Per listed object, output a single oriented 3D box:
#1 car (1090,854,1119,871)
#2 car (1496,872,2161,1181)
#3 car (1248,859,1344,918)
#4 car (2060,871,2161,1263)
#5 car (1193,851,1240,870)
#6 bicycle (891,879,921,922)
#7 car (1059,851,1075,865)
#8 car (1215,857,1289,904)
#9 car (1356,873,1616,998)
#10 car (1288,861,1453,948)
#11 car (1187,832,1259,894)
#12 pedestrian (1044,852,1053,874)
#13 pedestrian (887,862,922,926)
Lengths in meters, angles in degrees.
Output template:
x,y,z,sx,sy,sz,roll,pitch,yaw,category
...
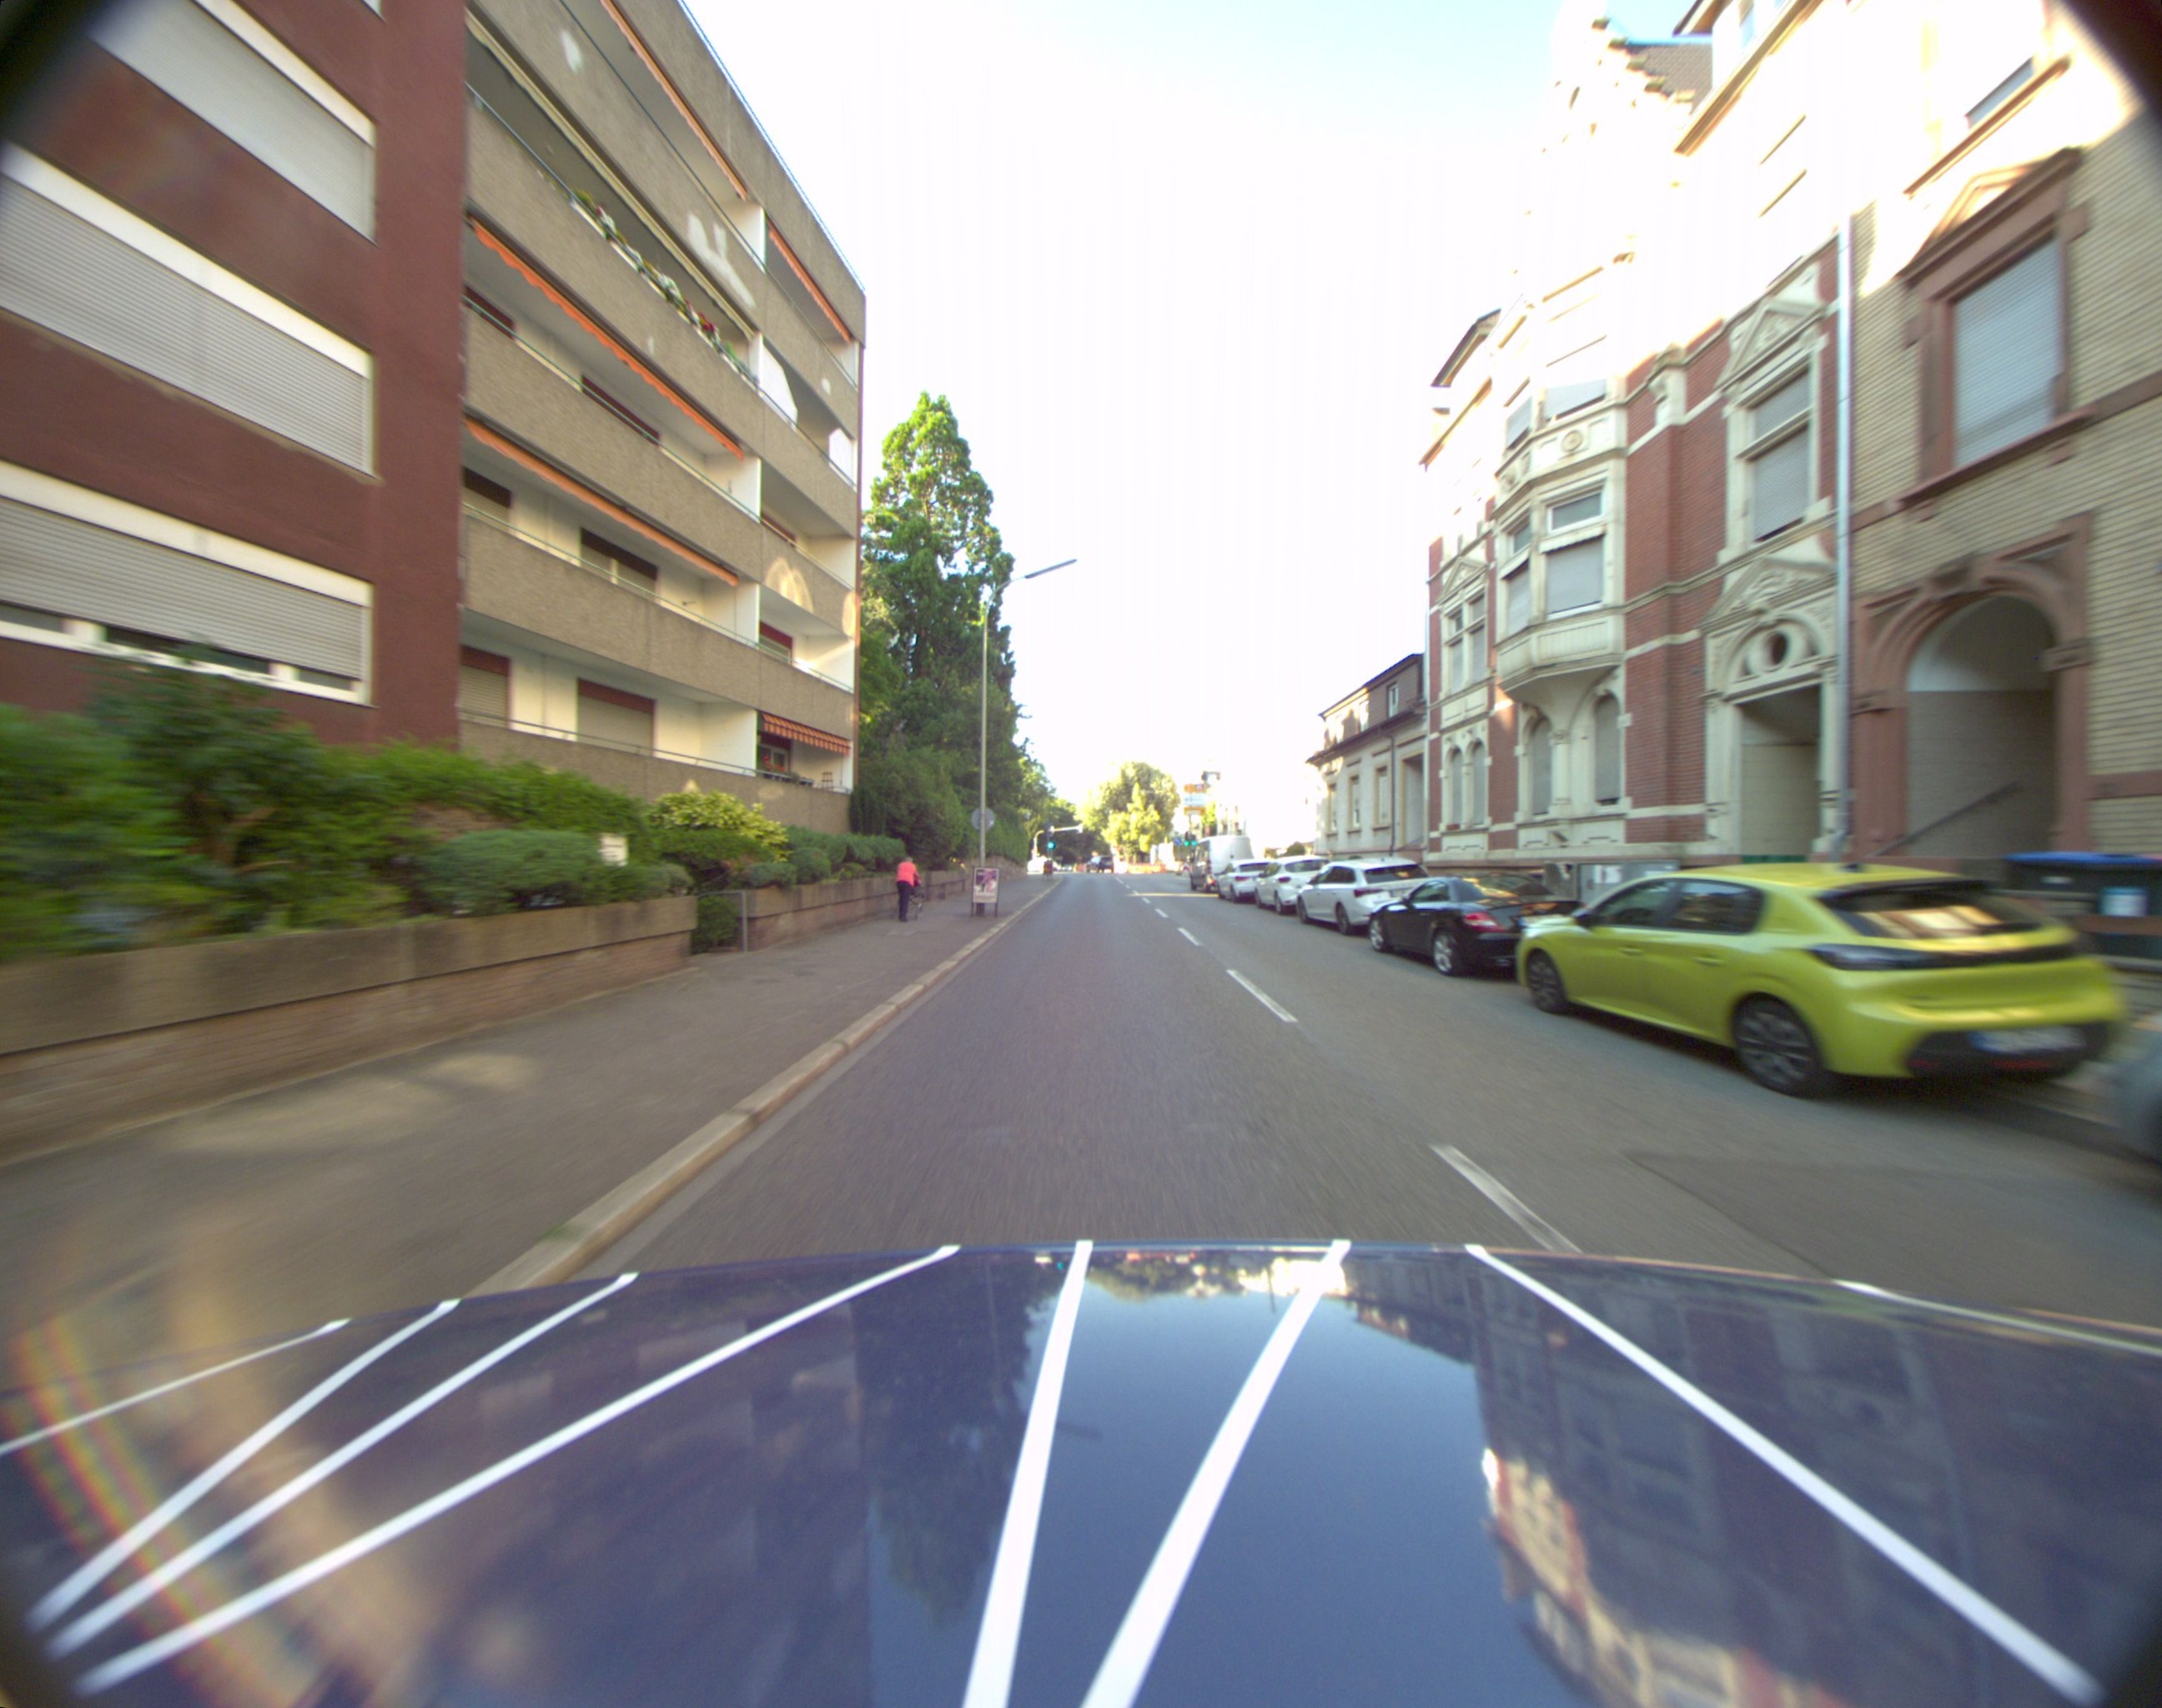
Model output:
x,y,z,sx,sy,sz,roll,pitch,yaw,category
2.347,0.874,77.426,1.960,1.638,4.279,-1,-1,-13,car
5.295,1.001,6.189,1.706,1.494,4.072,-1,1,2,car
6.039,0.906,21.817,1.706,1.494,4.021,-1,0,2,car
5.174,0.850,1.553,1.706,1.574,3.635,-1,0,2,car
14.990,0.715,83.981,4.681,1.953,2.117,-1,-1,-5,car
-4.080,1.084,17.761,0.567,0.964,0.492,-1,-1,0,bicycle
-1.694,0.484,90.213,1.780,1.638,4.534,-1,-1,-1,car
5.877,0.871,26.550,1.707,1.494,3.823,-1,0,0,car
5.477,1.009,10.893,1.706,1.358,3.860,-1,0,1,car
5.941,0.952,16.236,1.707,1.527,4.548,-1,0,-1,car
6.166,0.377,33.662,2.073,2.446,6.014,-1,0,0,car
-2.467,0.698,58.125,0.604,1.683,0.612,1,0,0,pedestrian
-3.953,0.880,17.023,0.599,1.394,0.668,-1,-1,-1,pedestrian
